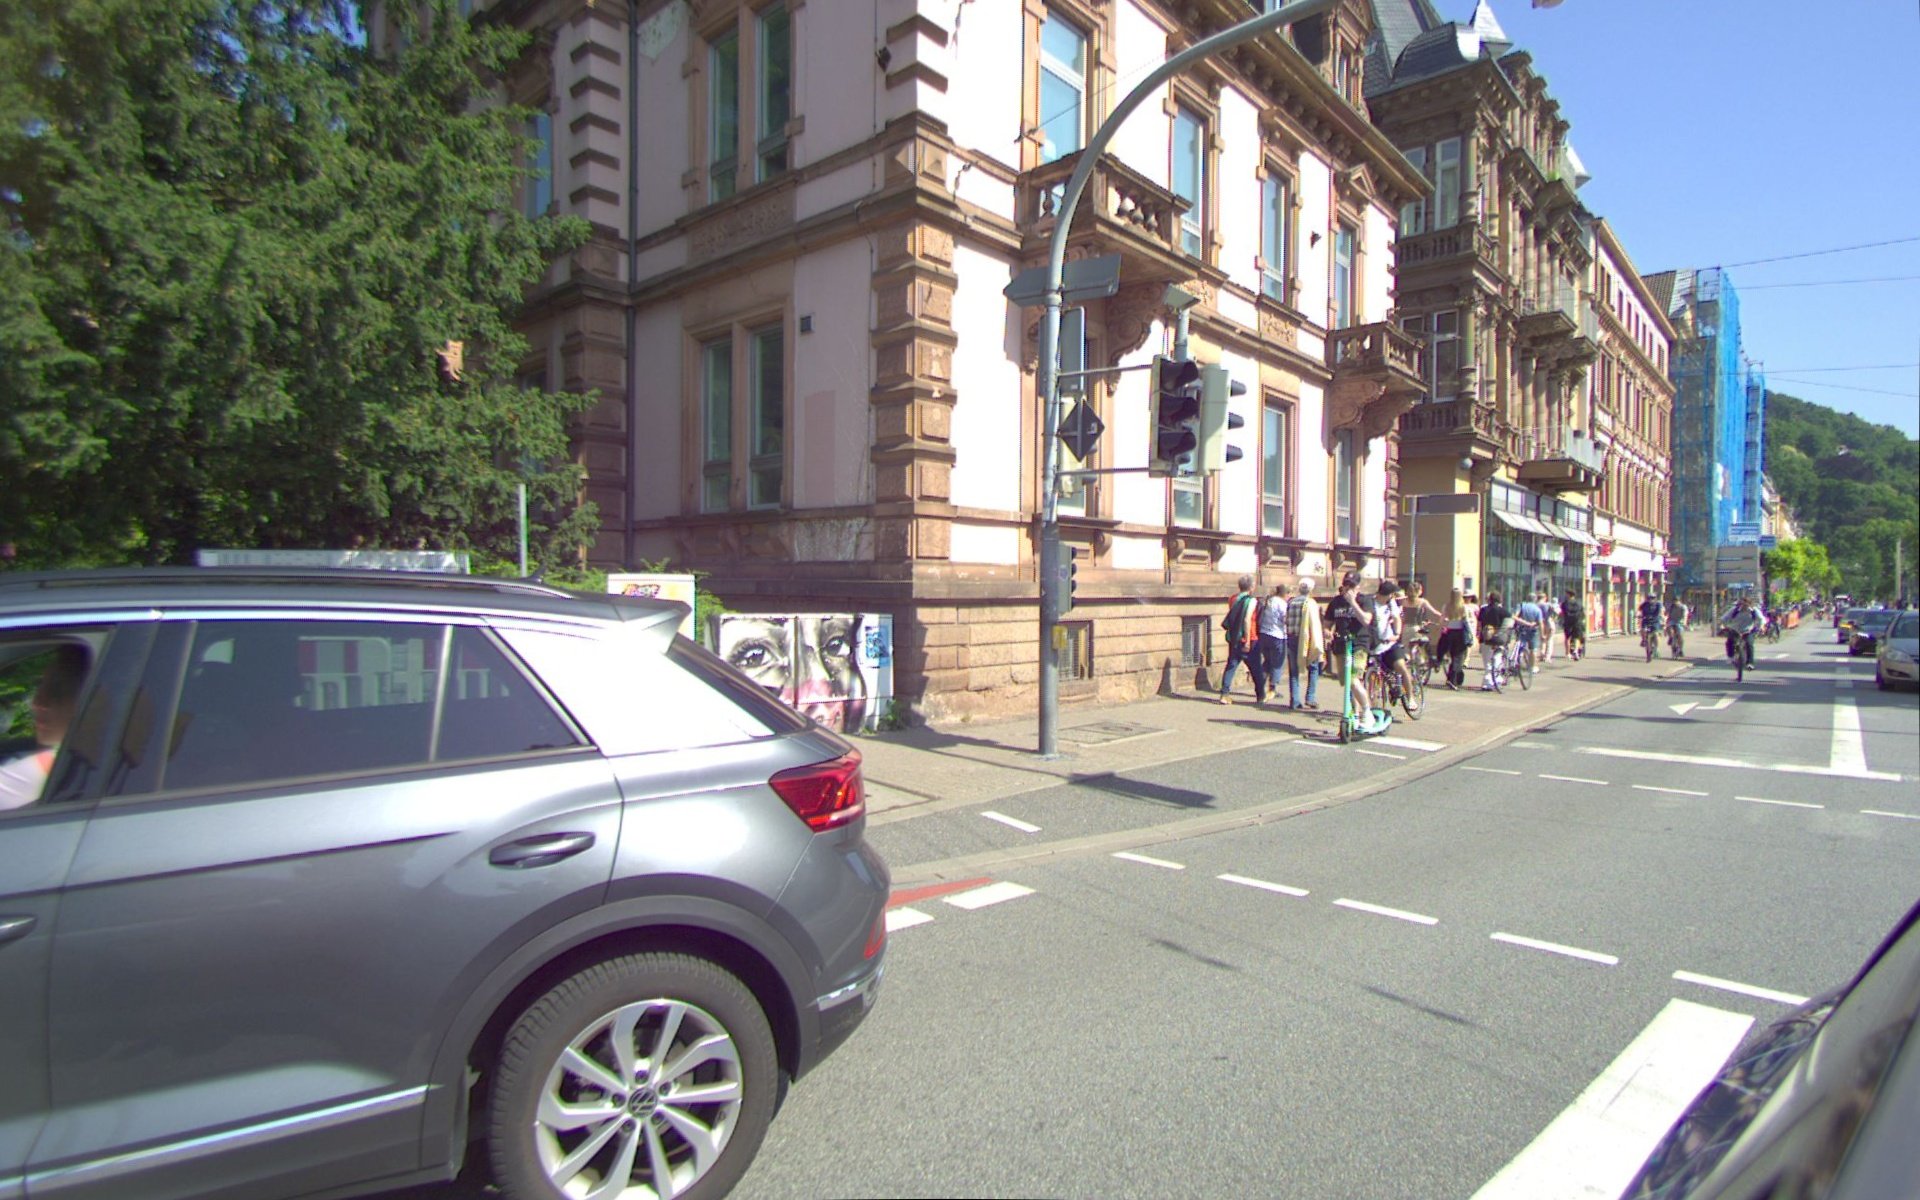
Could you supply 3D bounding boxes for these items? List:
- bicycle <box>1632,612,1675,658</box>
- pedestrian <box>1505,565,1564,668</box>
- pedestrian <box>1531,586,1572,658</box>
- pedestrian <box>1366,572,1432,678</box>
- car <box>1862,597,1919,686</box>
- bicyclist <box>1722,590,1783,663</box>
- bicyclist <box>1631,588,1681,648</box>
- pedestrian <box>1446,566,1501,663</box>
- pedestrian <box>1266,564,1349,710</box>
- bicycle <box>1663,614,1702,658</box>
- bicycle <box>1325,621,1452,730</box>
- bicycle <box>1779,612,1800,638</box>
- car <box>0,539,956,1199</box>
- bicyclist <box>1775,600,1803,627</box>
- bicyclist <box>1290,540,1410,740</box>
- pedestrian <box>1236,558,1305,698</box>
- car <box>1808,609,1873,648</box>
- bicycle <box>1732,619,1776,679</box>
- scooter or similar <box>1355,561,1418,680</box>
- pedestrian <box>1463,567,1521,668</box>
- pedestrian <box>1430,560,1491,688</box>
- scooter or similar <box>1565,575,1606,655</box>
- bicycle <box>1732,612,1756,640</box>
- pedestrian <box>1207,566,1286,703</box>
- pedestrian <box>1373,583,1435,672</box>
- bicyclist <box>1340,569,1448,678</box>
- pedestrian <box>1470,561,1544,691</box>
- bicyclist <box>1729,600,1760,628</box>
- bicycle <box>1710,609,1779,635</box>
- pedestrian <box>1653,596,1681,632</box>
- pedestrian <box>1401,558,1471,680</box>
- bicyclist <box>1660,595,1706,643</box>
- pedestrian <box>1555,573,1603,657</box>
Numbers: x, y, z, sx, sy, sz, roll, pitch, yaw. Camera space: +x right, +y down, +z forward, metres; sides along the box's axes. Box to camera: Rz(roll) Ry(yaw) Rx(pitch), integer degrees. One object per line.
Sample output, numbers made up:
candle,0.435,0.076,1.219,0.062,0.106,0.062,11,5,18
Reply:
bicycle,17.764,0.872,25.890,0.641,1.096,2.459,2,1,40
pedestrian,11.821,0.324,20.830,0.811,2.038,0.803,4,2,41
pedestrian,14.324,0.515,24.495,0.705,1.716,0.618,2,2,45
pedestrian,7.927,0.435,18.276,0.811,1.815,0.803,4,2,41
car,18.267,0.736,18.803,1.793,1.520,4.438,2,1,36
bicyclist,16.161,0.514,20.631,0.909,1.411,1.214,2,1,41
bicyclist,17.736,0.438,25.784,0.909,1.454,1.214,2,1,41
pedestrian,11.316,0.307,22.296,0.811,2.038,0.803,4,2,41
pedestrian,4.487,0.455,13.042,0.704,1.791,0.890,2,1,40
bicycle,19.643,0.948,27.503,0.641,1.096,2.459,2,1,40
bicycle,5.186,0.852,12.163,0.778,1.116,2.107,4,2,40
bicycle,36.456,1.088,44.460,0.641,1.096,2.459,2,1,40
car,-2.204,0.637,2.457,3.910,1.535,1.939,1,1,-26
bicyclist,36.358,0.585,44.383,0.909,1.096,1.214,2,1,41
bicyclist,4.214,0.393,10.937,0.941,2.039,0.818,2,0,41
pedestrian,4.426,0.386,14.410,0.634,1.915,0.890,0,-1,40
car,38.389,1.203,44.080,1.993,1.594,3.937,0,-1,43
bicycle,16.173,0.967,20.594,0.641,1.096,2.461,2,1,39
scooter or similar,7.570,0.347,17.946,0.691,2.039,1.079,2,0,41
pedestrian,11.238,0.360,21.365,0.811,2.038,0.803,4,2,41
pedestrian,8.335,0.382,16.853,0.660,2.038,0.689,4,2,41
scooter or similar,16.279,0.379,26.333,0.691,2.039,1.079,2,0,41
bicycle,31.960,1.054,41.260,0.641,1.096,2.459,2,1,40
pedestrian,3.871,0.430,13.643,0.704,1.774,0.890,2,1,40
pedestrian,8.564,0.511,19.498,0.811,1.622,0.803,4,2,41
bicyclist,5.216,0.259,12.157,0.920,1.235,0.957,2,1,41
pedestrian,8.993,0.405,16.627,0.811,2.038,0.803,4,2,41
bicyclist,32.007,0.572,41.287,0.909,1.082,1.214,2,1,41
bicycle,36.979,1.017,47.744,0.633,1.096,2.491,1,1,-44
pedestrian,32.498,0.626,46.504,0.909,1.621,1.214,2,1,41
pedestrian,8.302,0.315,17.650,0.811,2.038,0.803,4,2,41
bicyclist,19.618,0.510,27.453,0.909,1.250,1.214,2,1,41
pedestrian,15.663,0.359,25.606,0.811,2.038,0.803,4,2,41
